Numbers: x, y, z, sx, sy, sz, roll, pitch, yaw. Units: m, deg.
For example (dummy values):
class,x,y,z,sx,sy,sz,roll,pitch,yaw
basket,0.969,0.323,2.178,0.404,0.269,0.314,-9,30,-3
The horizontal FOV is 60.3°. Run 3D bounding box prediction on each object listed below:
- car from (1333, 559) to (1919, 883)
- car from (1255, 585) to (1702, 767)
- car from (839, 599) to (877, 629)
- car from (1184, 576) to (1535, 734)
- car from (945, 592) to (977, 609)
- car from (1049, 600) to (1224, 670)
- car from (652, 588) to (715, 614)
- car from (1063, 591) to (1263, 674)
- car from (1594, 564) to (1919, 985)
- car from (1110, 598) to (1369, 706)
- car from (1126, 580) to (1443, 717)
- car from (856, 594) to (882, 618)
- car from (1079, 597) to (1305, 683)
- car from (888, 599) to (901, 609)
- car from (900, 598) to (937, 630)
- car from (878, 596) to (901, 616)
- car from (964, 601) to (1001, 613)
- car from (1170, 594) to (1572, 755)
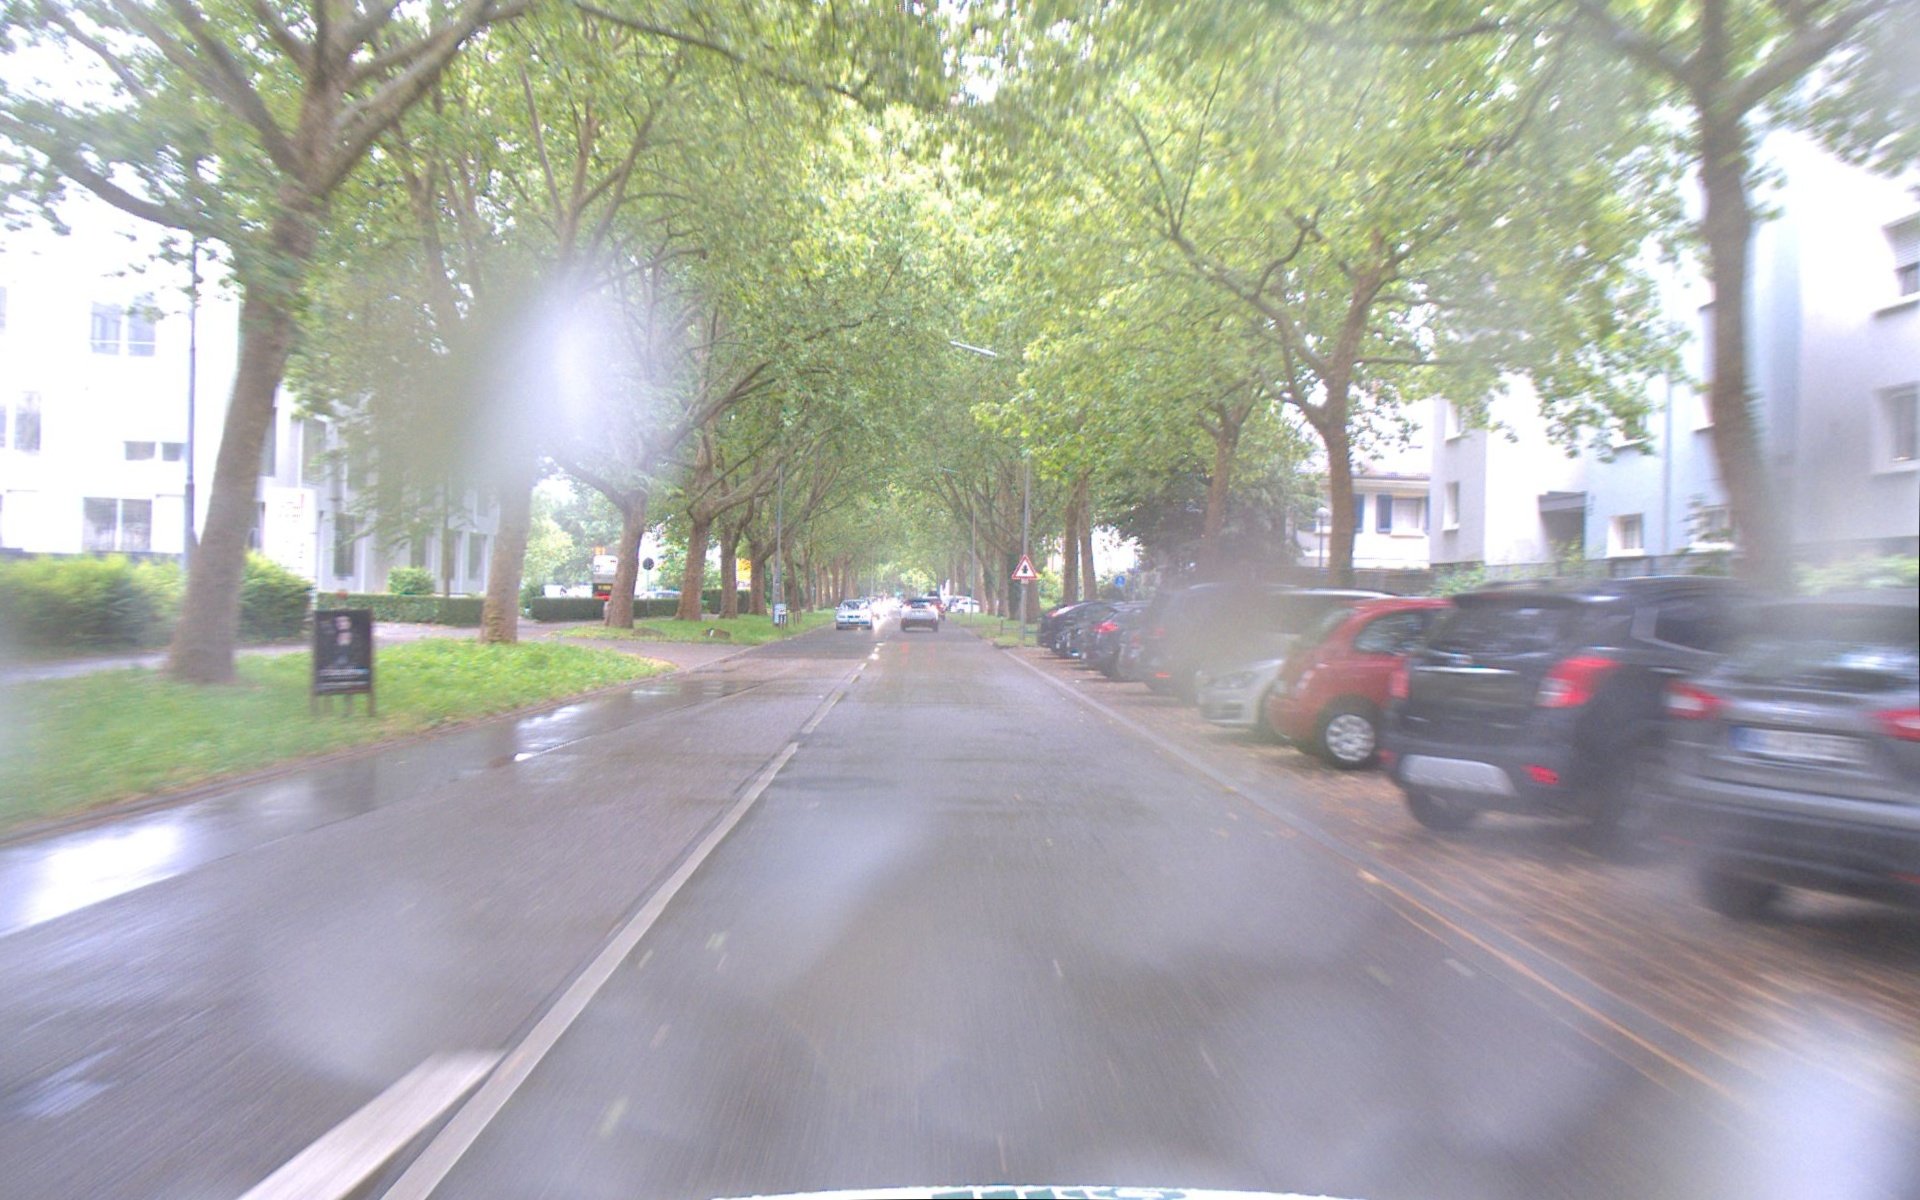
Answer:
class,x,y,z,sx,sy,sz,roll,pitch,yaw
car,4.474,0.616,10.726,3.813,1.727,1.820,-1,2,-29
car,4.701,0.663,15.386,3.627,1.563,1.738,-1,0,2
car,-4.992,0.654,81.658,1.644,1.413,4.548,0,0,-1
car,4.918,0.655,20.732,3.906,1.757,1.801,2,0,-1
car,0.128,0.045,187.576,3.476,1.873,1.710,-1,0,-3
car,4.241,0.842,40.169,3.961,1.557,1.779,1,0,-4
car,-18.633,0.035,111.622,3.906,1.651,2.000,1,0,-1
car,4.441,0.692,36.575,4.125,1.684,1.913,1,0,-2
car,5.212,0.727,7.885,3.942,1.629,2.016,2,0,-29
car,4.526,0.821,27.139,3.906,1.564,1.631,2,0,-1
car,4.710,0.685,24.406,4.250,1.792,1.818,2,0,-1
car,-6.723,0.398,122.600,1.773,1.713,4.446,-1,0,-2
car,4.336,0.730,31.247,3.956,1.466,1.684,-1,0,-4
car,-9.355,0.595,237.681,1.685,1.277,3.999,2,0,-1
car,-1.926,0.626,77.410,1.671,1.436,3.643,-1,0,-1
car,-5.512,0.465,129.958,1.671,1.436,3.643,-1,0,-1
car,2.165,0.671,159.788,3.477,1.175,1.710,-1,0,-4
car,4.425,0.782,18.184,3.908,1.539,1.800,2,0,-3
